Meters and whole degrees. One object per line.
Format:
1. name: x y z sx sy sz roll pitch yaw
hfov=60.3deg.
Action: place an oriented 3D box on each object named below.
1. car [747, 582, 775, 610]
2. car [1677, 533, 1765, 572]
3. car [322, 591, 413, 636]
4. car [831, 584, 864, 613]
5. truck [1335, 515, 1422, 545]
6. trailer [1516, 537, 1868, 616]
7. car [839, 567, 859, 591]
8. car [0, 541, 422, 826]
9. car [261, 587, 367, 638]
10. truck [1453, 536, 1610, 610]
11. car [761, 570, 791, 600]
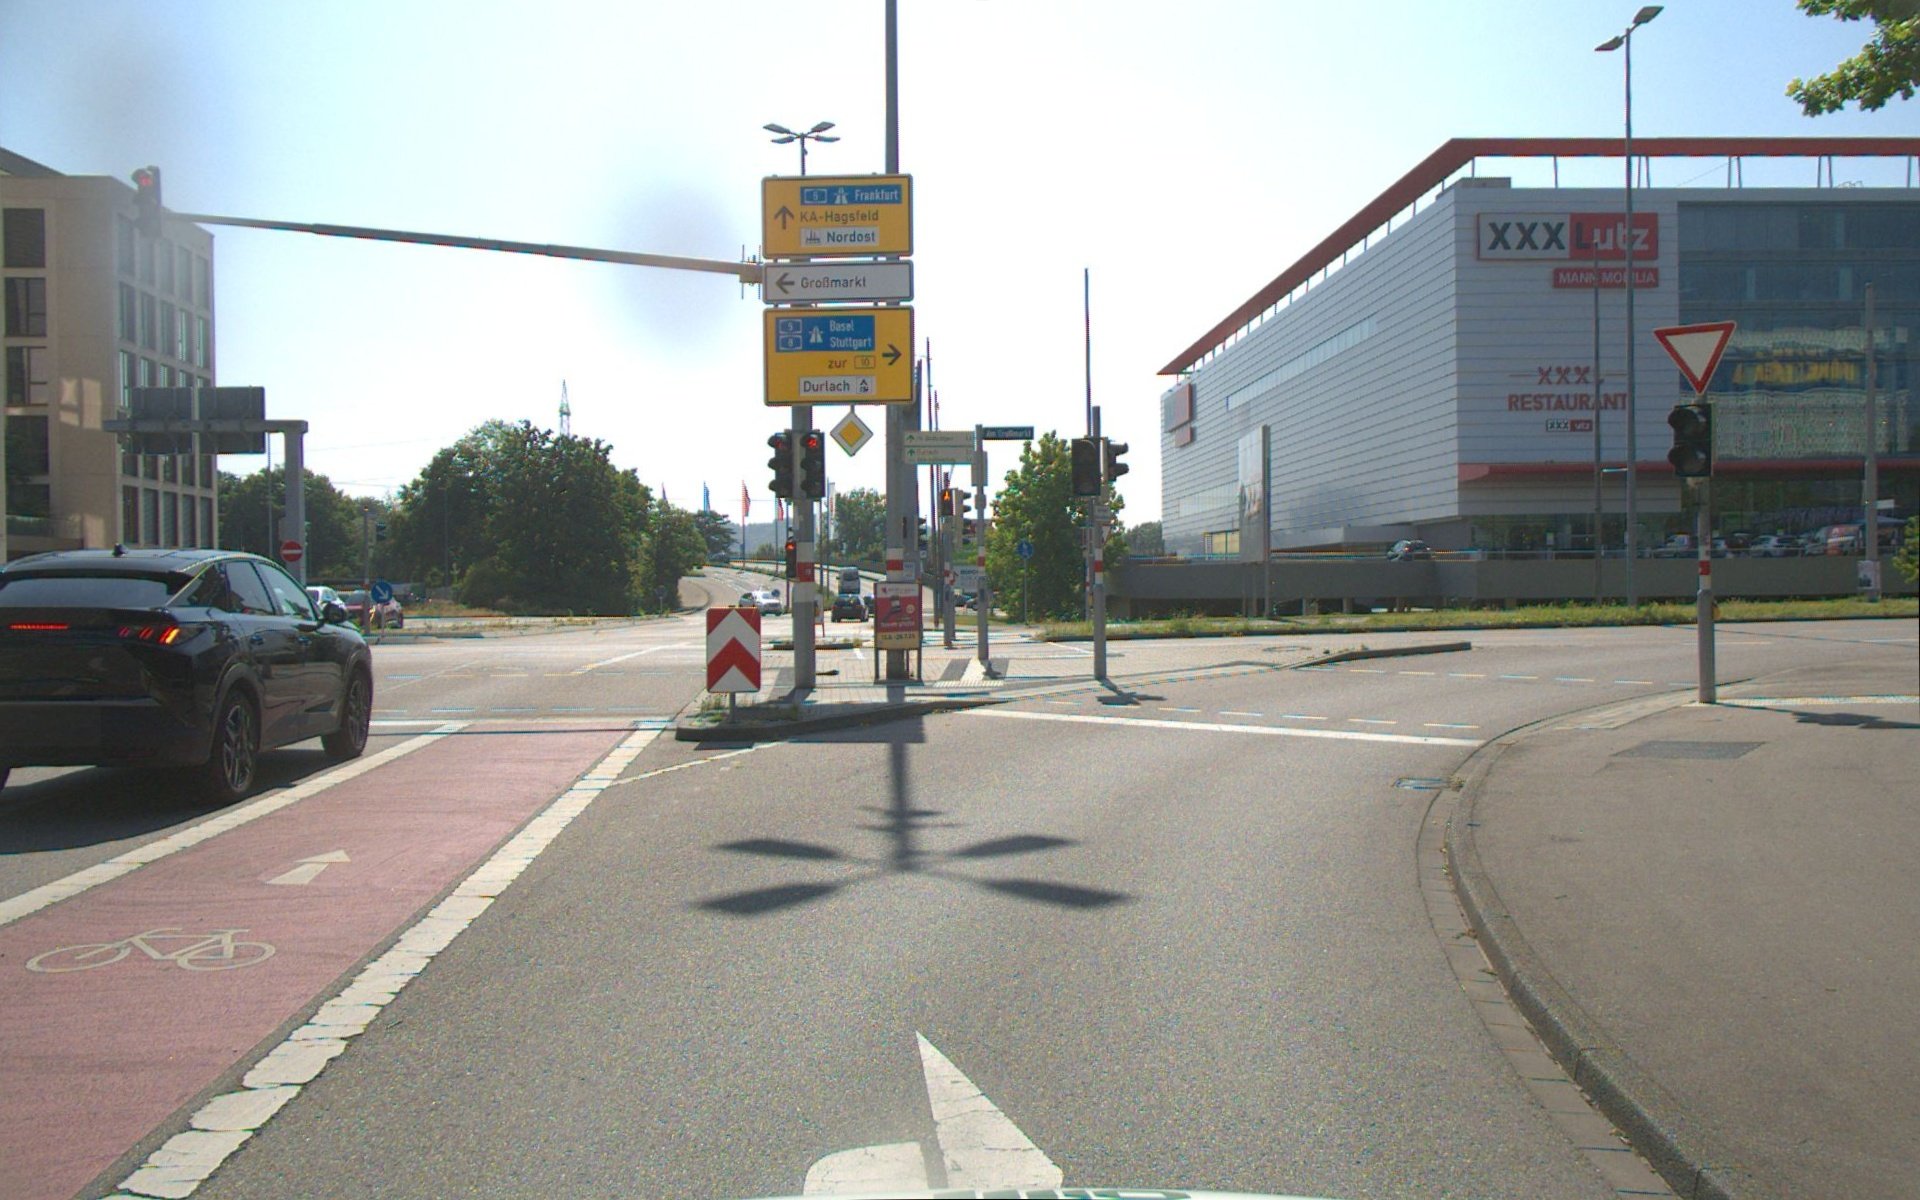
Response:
1. car: -13.467 -0.311 112.109 1.726 1.825 3.343 -1 1 -6
2. car: 41.692 -2.608 90.673 3.910 2.048 1.998 1 2 -6
3. car: -21.283 0.469 59.561 1.778 1.489 4.000 -2 1 0
4. car: -6.077 -0.092 89.725 1.655 1.382 3.999 1 2 -2
5. truck: 30.526 -5.127 120.706 5.791 2.048 2.000 1 2 -2
6. trailer: 25.772 -0.853 58.441 11.631 2.512 2.000 1 2 -2
7. car: -11.362 -2.131 169.178 1.953 2.361 3.999 1 2 -3
8. car: -5.533 0.474 12.075 1.770 1.668 4.458 -1 1 -1
9. car: -20.613 0.372 52.952 1.778 1.489 4.000 -2 1 0
10. truck: 20.094 -0.965 58.259 4.782 2.466 2.000 1 2 -2
11. car: -13.436 -1.098 121.010 1.954 2.048 3.978 1 2 -4
